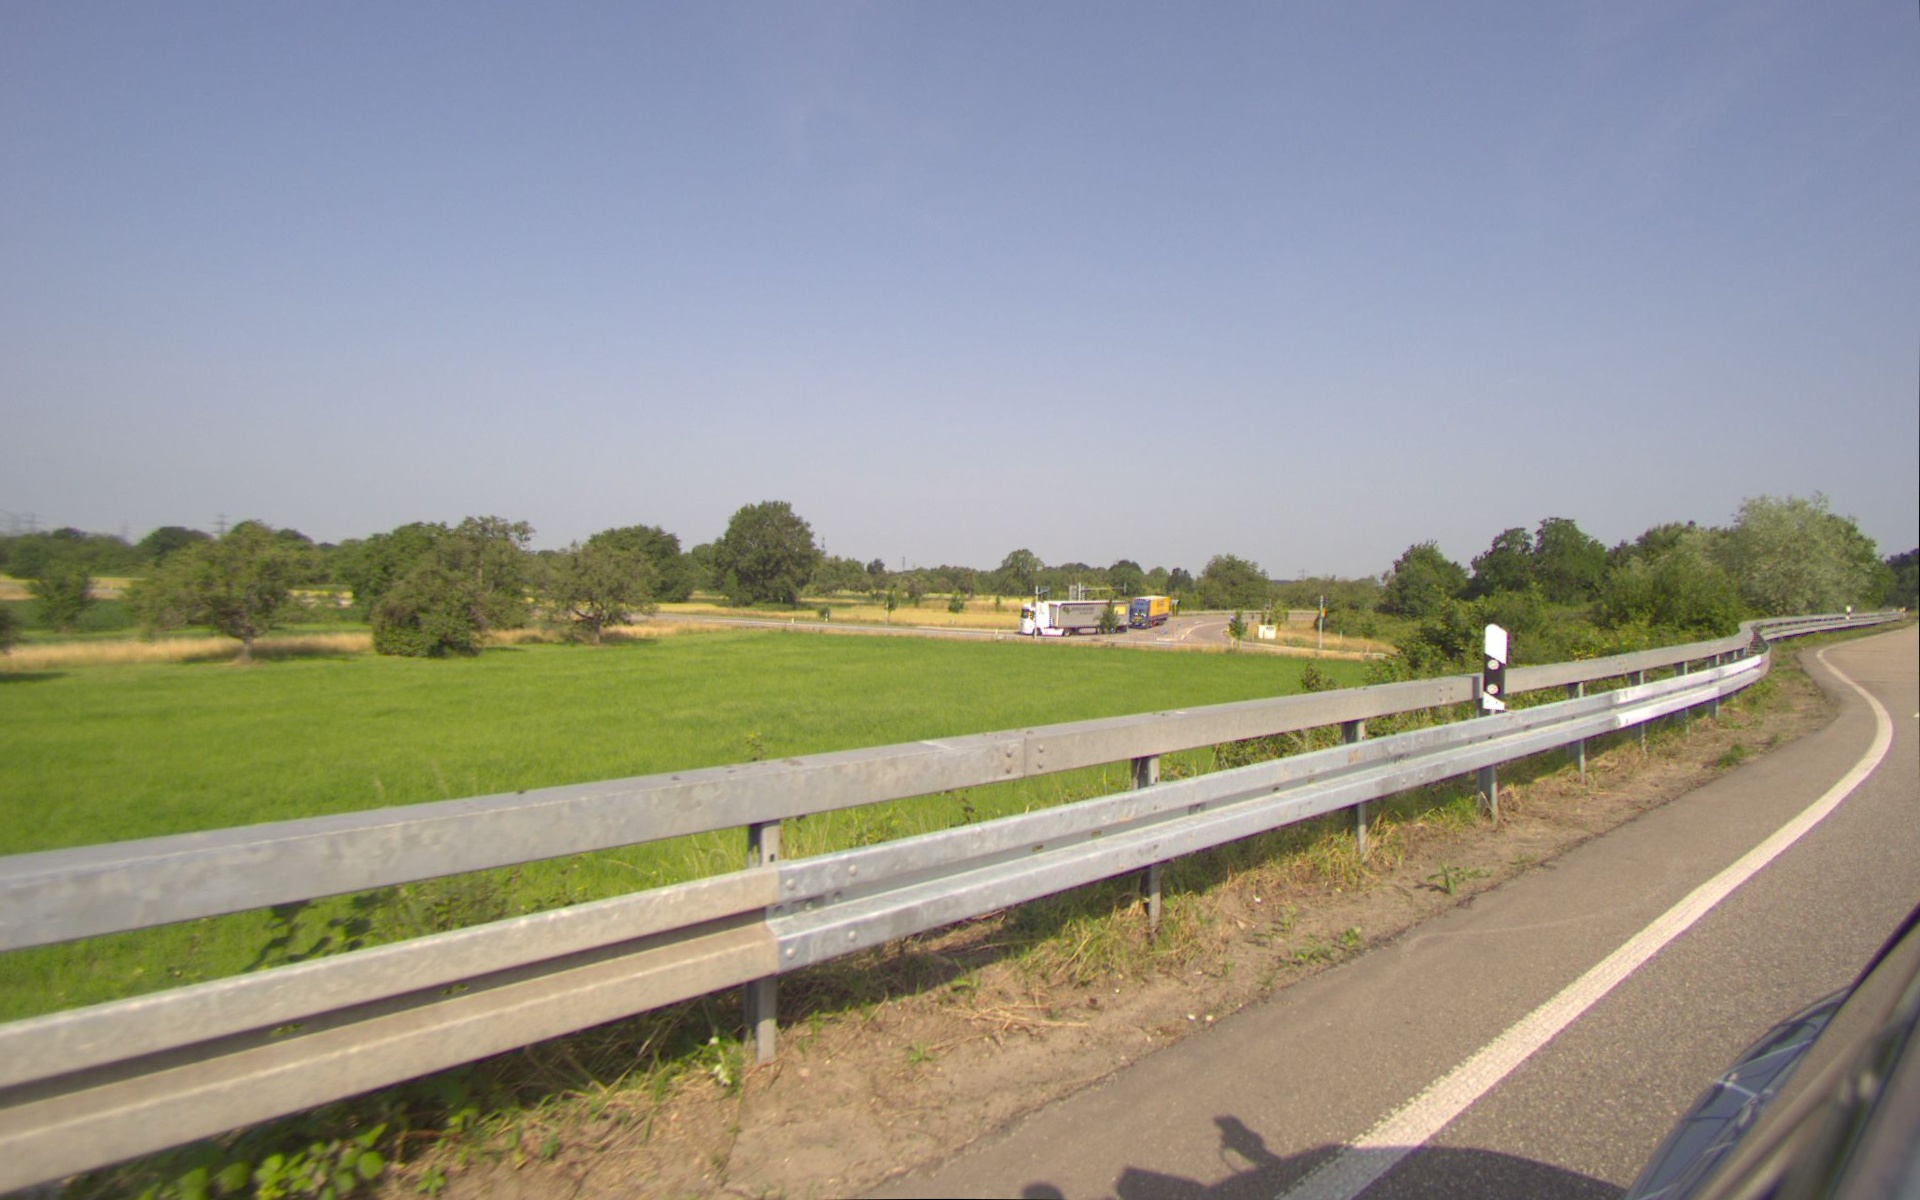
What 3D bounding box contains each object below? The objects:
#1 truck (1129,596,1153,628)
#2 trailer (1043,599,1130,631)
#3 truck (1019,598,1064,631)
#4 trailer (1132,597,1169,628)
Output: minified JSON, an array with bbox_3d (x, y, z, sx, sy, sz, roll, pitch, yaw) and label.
[{"bbox_3d":[24.799,1.669,138.671,2.237,4.222,4.338,2,1,23],"label":"truck"},{"bbox_3d":[15.679,1.920,124.319,13.689,3.699,2.105,2,0,-42],"label":"trailer"},{"bbox_3d":[9.671,1.753,120.421,4.841,3.724,2.111,2,0,-8],"label":"truck"},{"bbox_3d":[27.393,1.657,144.930,2.236,4.222,14.315,2,1,22],"label":"trailer"}]
